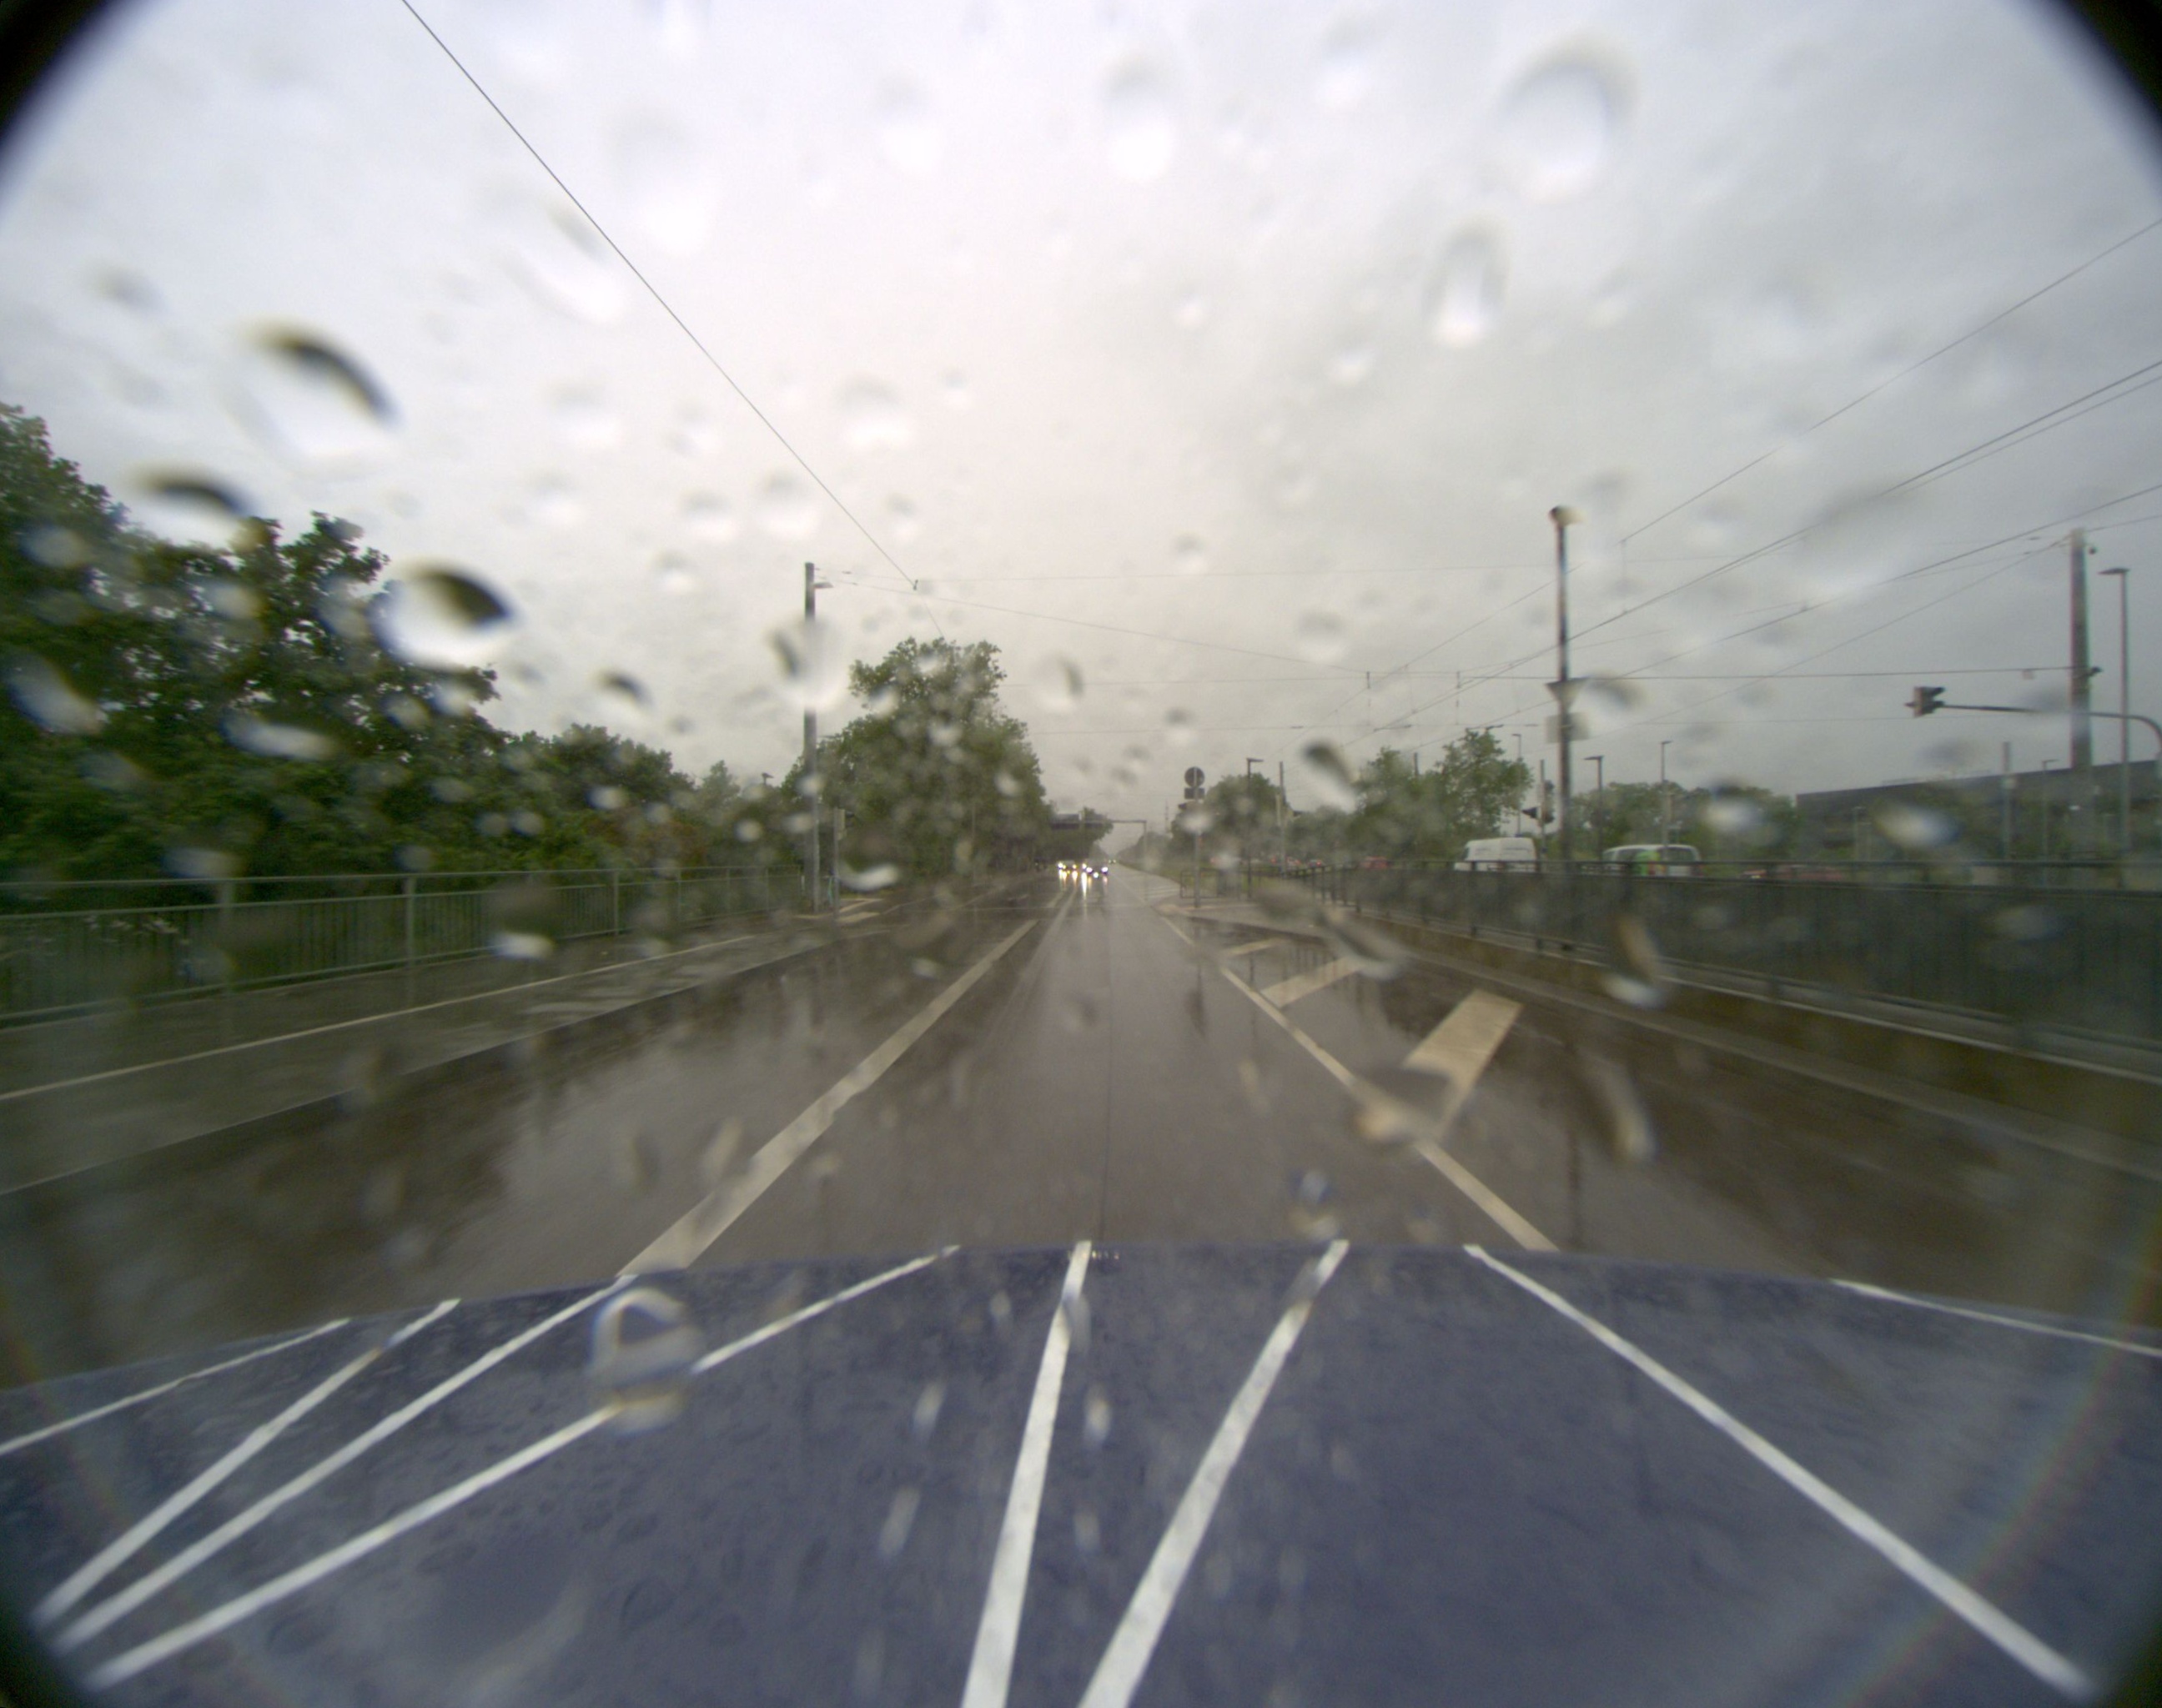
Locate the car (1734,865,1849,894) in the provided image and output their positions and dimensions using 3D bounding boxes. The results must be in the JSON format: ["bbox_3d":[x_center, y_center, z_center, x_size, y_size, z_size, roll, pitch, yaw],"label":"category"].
[{"bbox_3d":[39.761,1.412,42.633,4.369,1.433,2.001,-1,0,7],"label":"car"}]

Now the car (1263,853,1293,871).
[{"bbox_3d":[19.984,0.772,77.315,1.998,1.761,4.258,-2,0,1],"label":"car"}]

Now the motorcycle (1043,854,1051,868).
[{"bbox_3d":[-4.291,0.911,96.304,0.845,1.710,2.586,-2,0,1],"label":"motorcycle"}]

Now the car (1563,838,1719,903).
[{"bbox_3d":[19.374,0.537,26.626,1.998,2.002,4.754,-2,0,1],"label":"car"}]

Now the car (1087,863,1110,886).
[{"bbox_3d":[1.666,1.889,71.650,1.998,2.002,4.000,-1,0,2],"label":"car"}]

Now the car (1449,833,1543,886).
[{"bbox_3d":[22.930,0.304,42.295,2.125,2.697,5.739,-2,0,1],"label":"car"}]

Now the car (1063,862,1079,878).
[{"bbox_3d":[-1.320,2.088,99.621,1.999,2.002,3.999,-1,0,-2],"label":"car"}]

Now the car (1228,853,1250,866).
[{"bbox_3d":[20.684,0.690,99.610,1.998,1.586,4.381,2,0,2],"label":"car"}]

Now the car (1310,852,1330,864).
[{"bbox_3d":[33.887,0.578,107.616,1.995,1.671,4.547,-1,0,27],"label":"car"}]

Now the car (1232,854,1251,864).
[{"bbox_3d":[23.923,0.768,113.316,1.998,1.477,4.299,-1,0,1],"label":"car"}]

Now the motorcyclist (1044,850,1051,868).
[{"bbox_3d":[-4.301,0.619,96.191,0.762,2.246,0.916,-2,1,1],"label":"motorcyclist"}]

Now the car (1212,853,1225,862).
[{"bbox_3d":[24.442,0.611,135.205,1.605,1.580,3.619,-2,1,2],"label":"car"}]

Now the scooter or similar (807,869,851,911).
[{"bbox_3d":[-8.219,1.154,24.825,0.761,1.285,1.647,-2,1,4],"label":"scooter or similar"}]

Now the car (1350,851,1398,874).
[{"bbox_3d":[22.783,0.621,59.214,1.998,1.697,4.625,-2,0,1],"label":"car"}]
